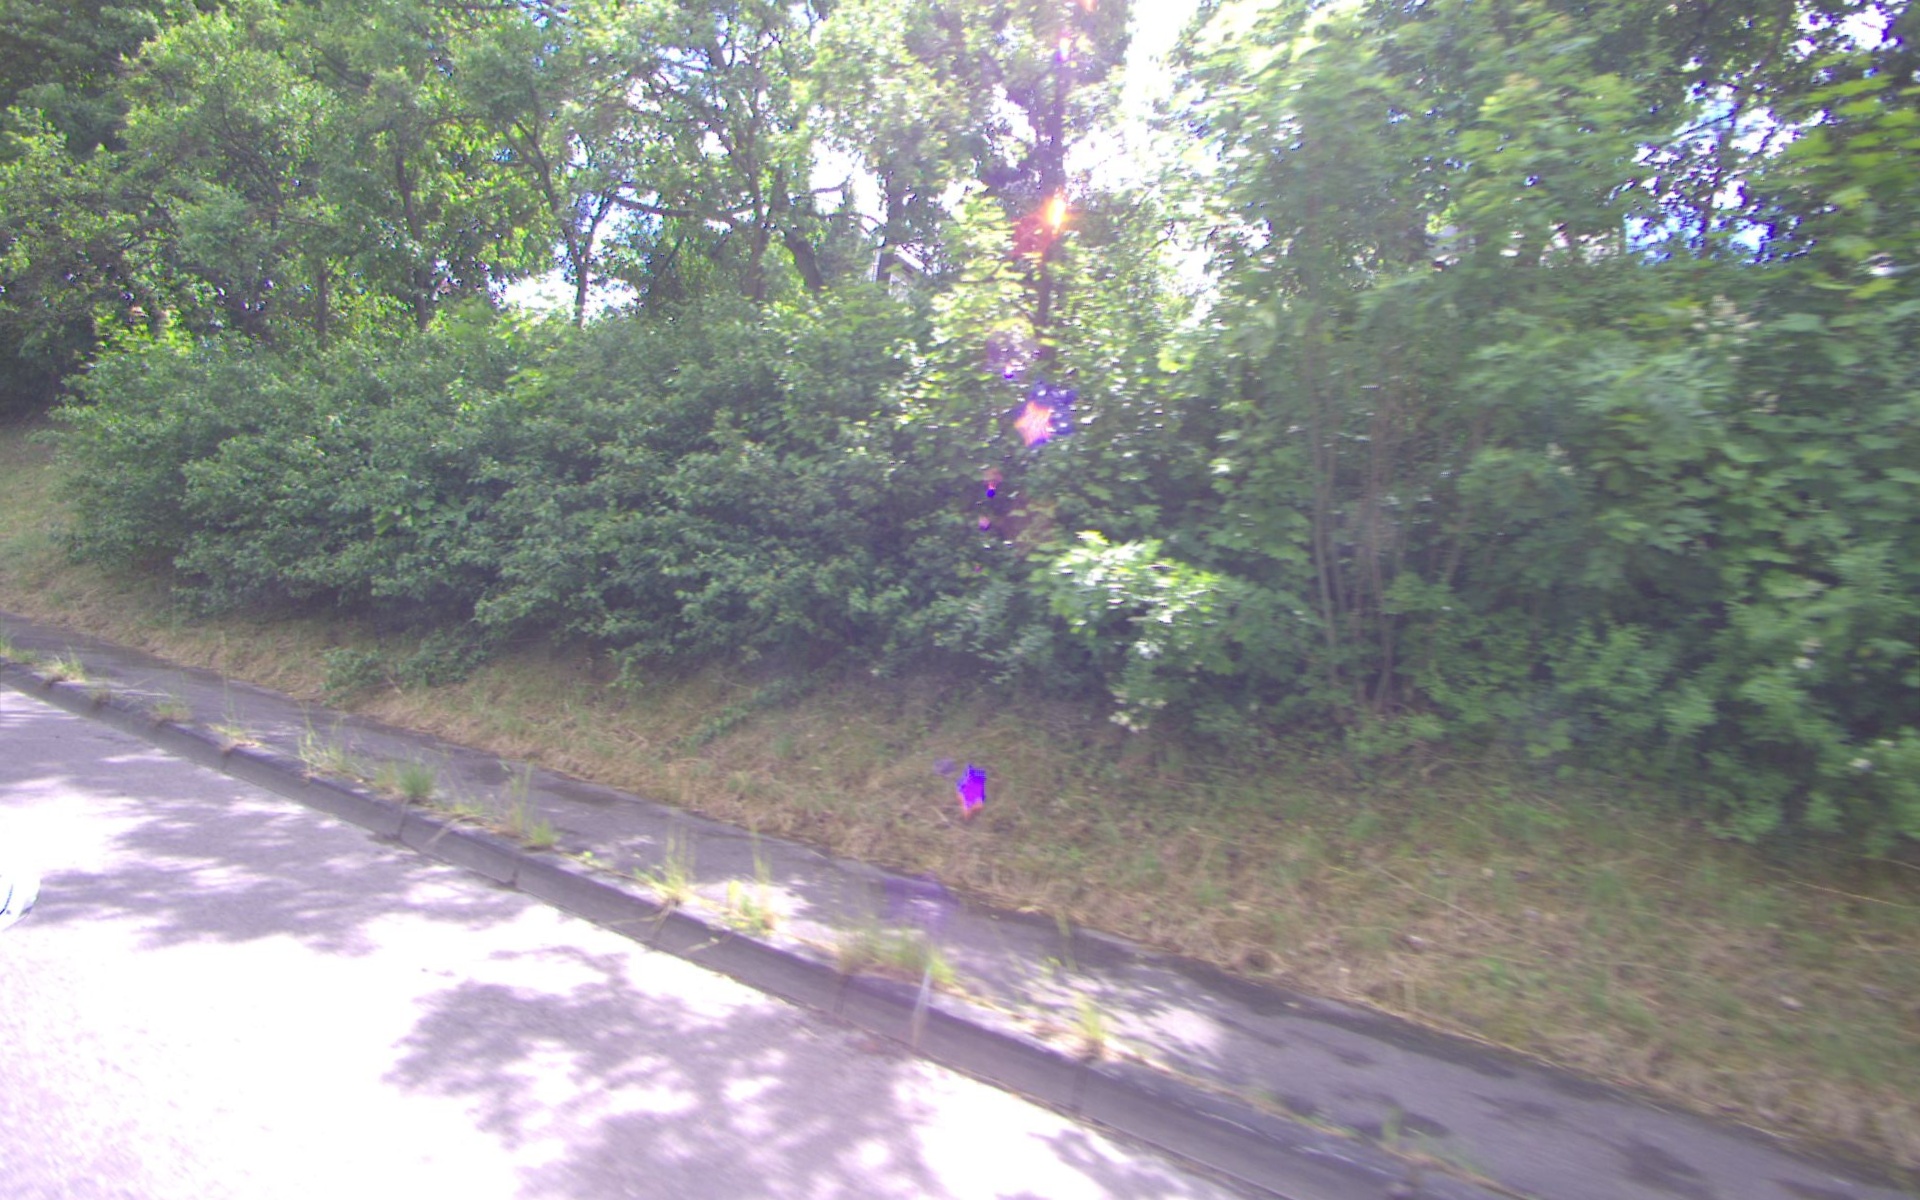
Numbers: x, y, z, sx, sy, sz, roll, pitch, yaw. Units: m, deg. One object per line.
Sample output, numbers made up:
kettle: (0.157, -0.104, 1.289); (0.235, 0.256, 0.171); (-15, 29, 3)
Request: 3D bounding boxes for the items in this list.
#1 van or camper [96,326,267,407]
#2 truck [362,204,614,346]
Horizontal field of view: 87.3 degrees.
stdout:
van or camper: (-27.393, -8.147, 35.354); (6.054, 2.093, 2.223); (7, -2, 27)
truck: (-13.037, -8.739, 27.618); (6.918, 2.689, 2.357); (7, -1, 28)
